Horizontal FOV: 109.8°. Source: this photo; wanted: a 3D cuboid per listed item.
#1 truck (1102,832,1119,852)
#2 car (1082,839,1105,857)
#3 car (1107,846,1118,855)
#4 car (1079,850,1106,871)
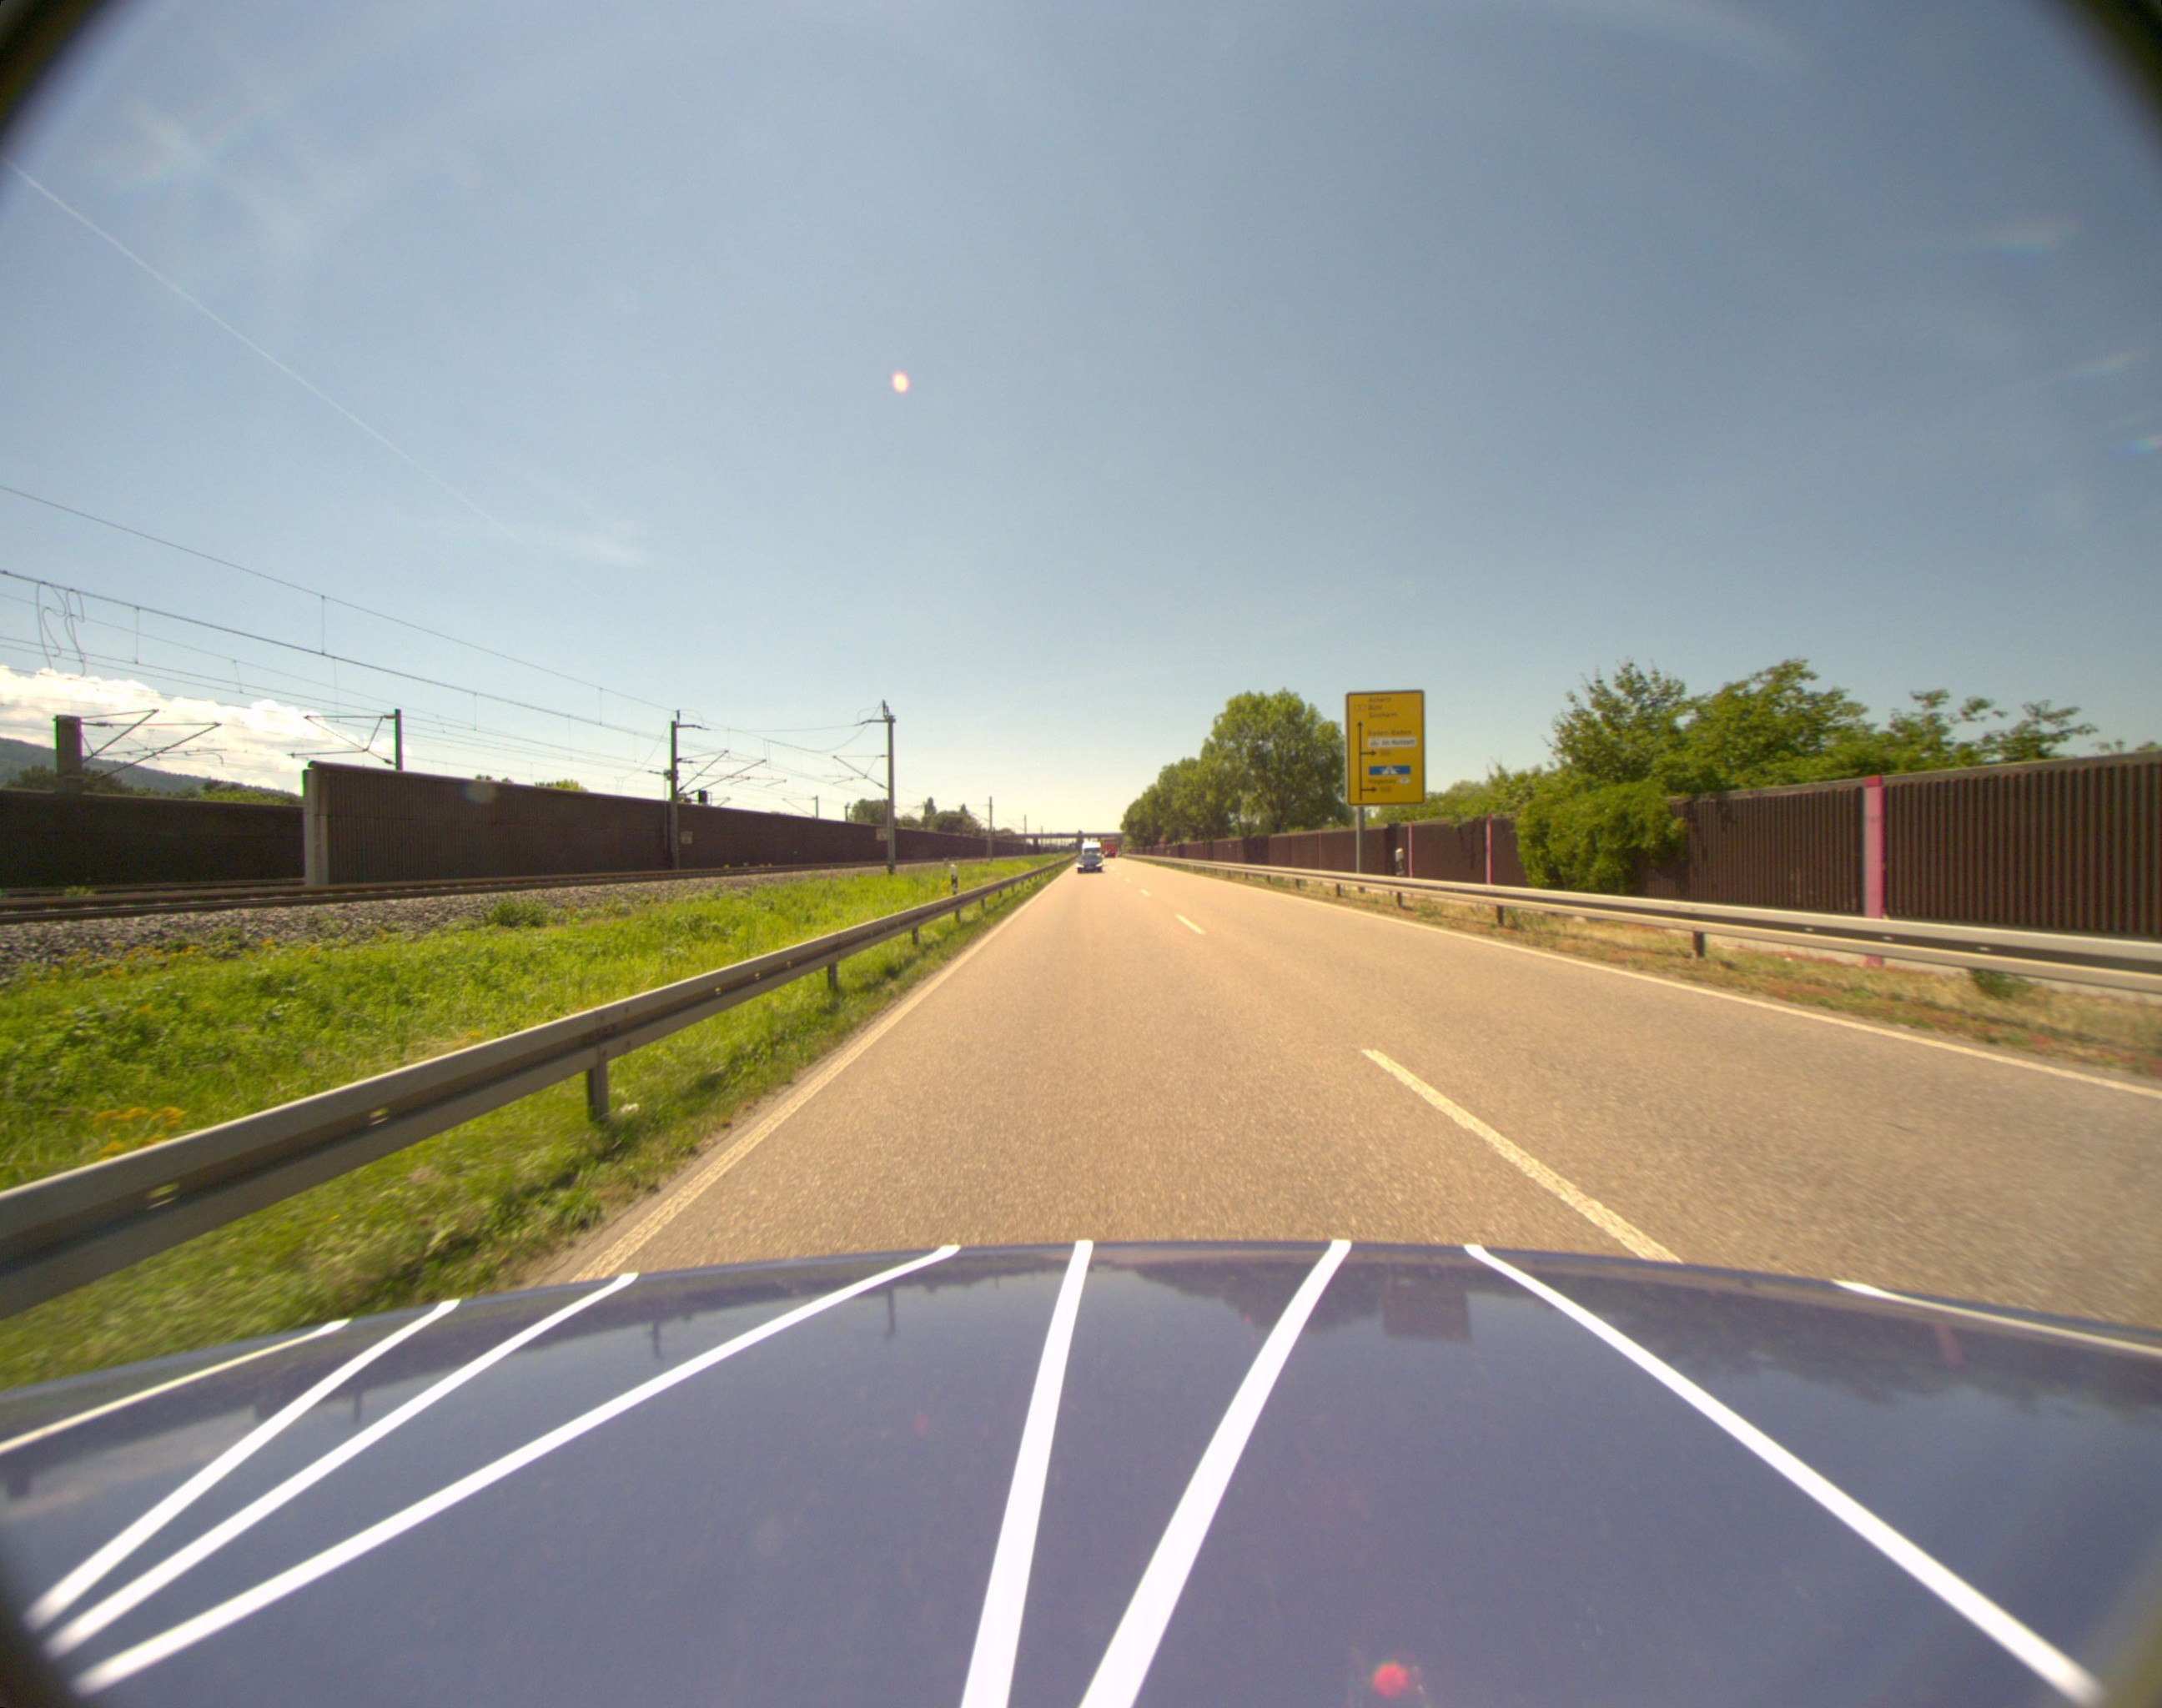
[{"bbox_3d":[6.065,-2.451,156.516,3.132,3.942,9.717,-3,1,1],"label":"truck"},{"bbox_3d":[1.285,-0.657,78.381,2.161,1.702,4.492,-3,1,1],"label":"car"},{"bbox_3d":[5.998,-0.647,145.066,1.994,1.486,4.492,-3,1,1],"label":"car"},{"bbox_3d":[0.839,0.464,54.225,1.758,1.313,4.000,-3,1,1],"label":"car"}]
